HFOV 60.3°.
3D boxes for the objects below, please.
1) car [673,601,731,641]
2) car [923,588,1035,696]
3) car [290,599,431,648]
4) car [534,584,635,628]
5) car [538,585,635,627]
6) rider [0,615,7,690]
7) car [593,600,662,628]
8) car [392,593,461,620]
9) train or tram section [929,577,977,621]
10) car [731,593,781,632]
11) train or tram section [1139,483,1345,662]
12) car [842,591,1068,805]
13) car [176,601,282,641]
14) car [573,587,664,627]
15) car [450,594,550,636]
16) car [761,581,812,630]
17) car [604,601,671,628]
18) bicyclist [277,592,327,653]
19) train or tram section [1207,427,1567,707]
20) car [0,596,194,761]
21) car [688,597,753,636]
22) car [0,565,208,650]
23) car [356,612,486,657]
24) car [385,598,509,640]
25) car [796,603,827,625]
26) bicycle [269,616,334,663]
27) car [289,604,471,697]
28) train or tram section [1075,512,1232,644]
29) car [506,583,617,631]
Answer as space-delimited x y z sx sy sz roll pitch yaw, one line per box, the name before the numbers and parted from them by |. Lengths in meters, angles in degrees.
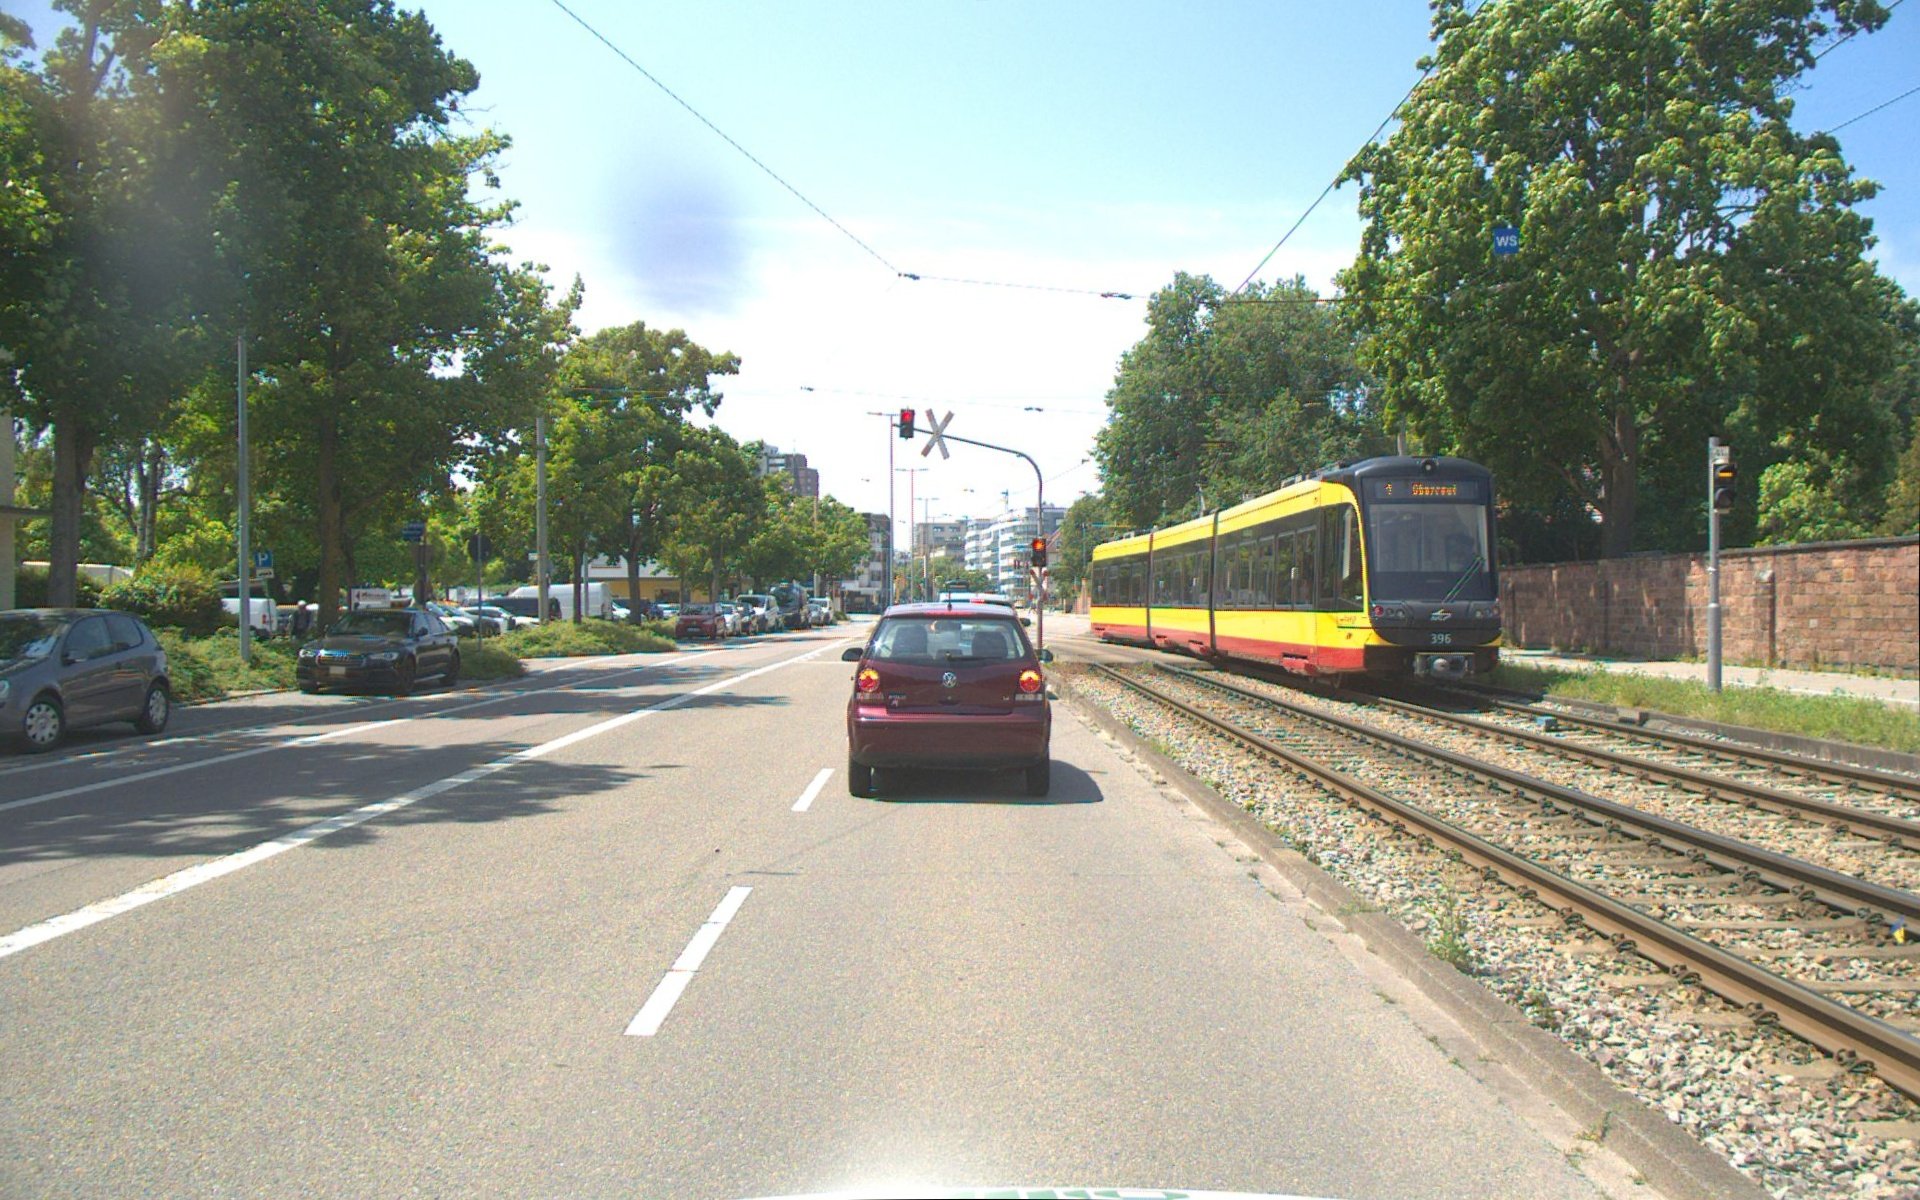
car | -10.546 0.868 67.842 1.628 1.523 4.000 2 -1 1
car | 0.257 0.662 28.213 1.741 1.676 3.999 1 0 -1
car | -20.967 0.815 57.980 4.256 1.613 1.912 -1 0 -3
car | -20.942 0.327 92.405 4.992 2.284 2.378 2 -1 0
car | -21.545 0.353 95.546 4.992 2.284 2.378 2 -1 0
rider | -18.441 0.993 30.866 0.808 1.398 0.812 -1 0 7
car | -21.083 0.904 105.057 3.937 1.645 1.816 2 -1 0
car | -35.197 0.445 109.137 3.939 1.645 1.816 2 -1 -2
train or tram section | -0.723 -0.097 147.631 2.689 3.672 12.849 2 0 -7
car | -10.399 0.654 84.634 1.746 1.914 4.787 2 -1 2
train or tram section | 6.820 -0.610 42.378 2.966 3.864 13.088 0 0 0
car | -0.080 0.721 14.243 1.638 1.548 3.999 1 0 -1
car | -32.689 0.948 74.038 3.913 1.682 1.812 2 -1 -9
car | -20.787 0.449 100.785 4.992 2.284 2.378 2 -1 0
car | -20.495 0.668 73.828 3.906 1.776 1.998 -1 0 -2
car | -10.215 0.346 97.682 2.313 2.739 5.307 2 -1 0
car | -21.083 0.947 108.138 3.937 1.645 1.816 2 -1 0
bicyclist | -15.531 0.538 39.066 0.792 1.398 0.828 2 -1 2
train or tram section | 6.888 -0.470 29.447 2.966 3.864 13.088 0 0 0
car | -10.353 0.768 18.340 1.781 1.592 4.180 1 0 -1
car | -10.719 0.744 74.391 1.934 1.629 4.560 2 -1 4
car | -33.121 0.302 64.083 6.713 3.017 2.363 2 -1 -2
car | -20.487 1.299 62.947 4.251 1.613 1.914 -1 0 5
car | -20.379 0.738 65.796 4.251 1.613 1.914 -1 0 6
car | -10.343 0.983 115.328 1.581 1.466 4.001 2 -1 3
bicycle | -15.542 0.927 39.076 0.686 1.048 1.829 2 -1 3
car | -10.426 0.855 30.094 1.781 1.502 4.448 1 0 -1
train or tram section | 6.140 -0.659 55.012 2.968 3.864 12.751 0 0 -3
car | -20.262 0.376 84.361 4.992 2.284 2.378 2 -1 0
